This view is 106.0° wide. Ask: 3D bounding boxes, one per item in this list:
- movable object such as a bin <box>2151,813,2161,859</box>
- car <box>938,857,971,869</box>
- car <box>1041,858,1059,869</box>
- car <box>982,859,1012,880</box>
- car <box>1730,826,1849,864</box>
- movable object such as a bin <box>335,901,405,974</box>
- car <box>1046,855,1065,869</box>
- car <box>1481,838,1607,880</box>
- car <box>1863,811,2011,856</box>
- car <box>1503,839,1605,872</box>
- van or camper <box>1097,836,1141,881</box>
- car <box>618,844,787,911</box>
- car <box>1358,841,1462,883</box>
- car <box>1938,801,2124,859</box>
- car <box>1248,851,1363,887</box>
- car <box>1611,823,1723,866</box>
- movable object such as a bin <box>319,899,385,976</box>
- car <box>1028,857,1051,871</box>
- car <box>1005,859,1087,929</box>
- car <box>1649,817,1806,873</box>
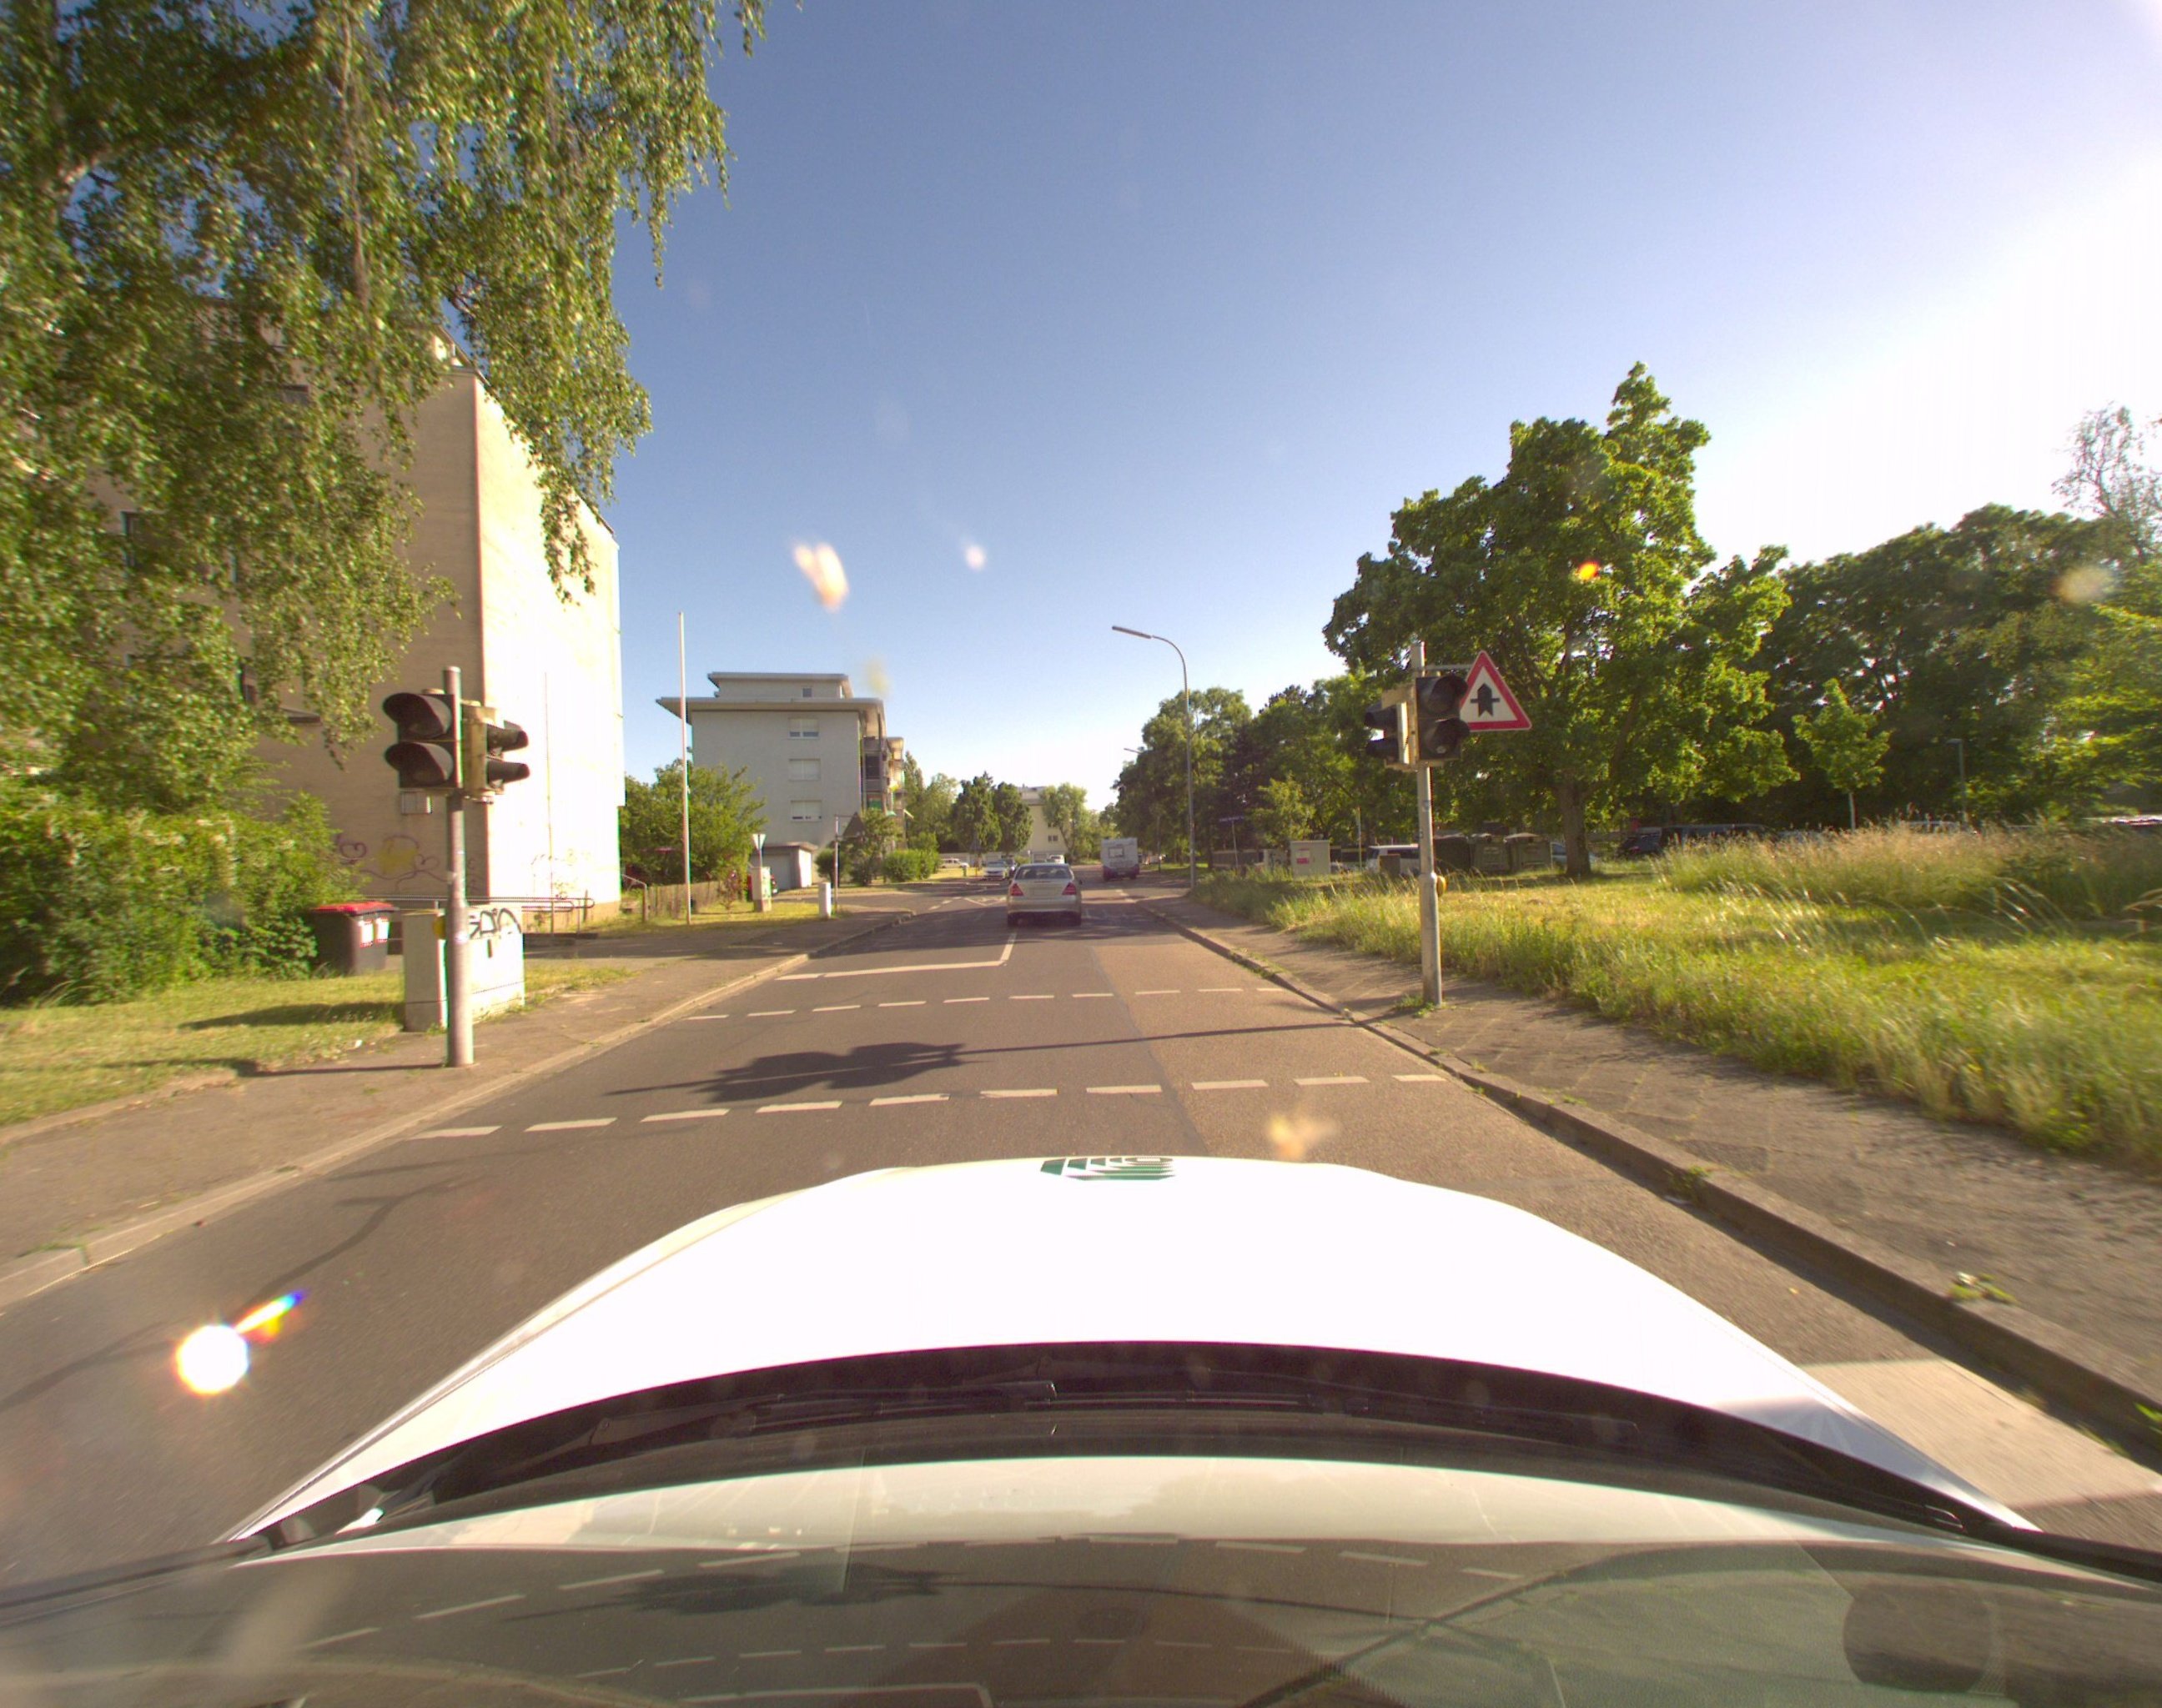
[{"bbox_3d":[36.748,-0.630,26.729,1.389,1.508,1.529,-2,-1,-14],"label":"movable object such as a bin"},{"bbox_3d":[-21.599,1.549,139.432,5.072,1.951,2.244,-3,0,11],"label":"car"},{"bbox_3d":[-4.139,1.256,109.621,1.825,1.518,4.227,0,-1,5],"label":"car"},{"bbox_3d":[-6.284,1.128,61.490,1.640,1.466,4.332,-1,0,1],"label":"car"},{"bbox_3d":[33.536,-0.412,38.628,3.852,1.611,2.000,-2,0,0],"label":"car"},{"bbox_3d":[-11.073,1.283,12.704,0.630,1.048,0.697,-2,-1,-25],"label":"movable object such as a bin"},{"bbox_3d":[-3.585,1.172,116.103,2.005,1.885,5.197,0,0,5],"label":"car"},{"bbox_3d":[19.045,0.198,33.639,4.084,1.541,1.976,-2,1,4],"label":"car"},{"bbox_3d":[39.324,-0.904,37.509,4.431,1.807,2.004,-3,0,6],"label":"car"},{"bbox_3d":[22.734,0.036,39.211,3.851,1.396,1.788,-2,1,1],"label":"car"},{"bbox_3d":[2.389,0.279,52.848,2.344,2.596,6.425,-5,0,0],"label":"van or camper"},{"bbox_3d":[-15.847,0.948,34.359,5.890,2.428,2.211,-3,1,-3],"label":"car"},{"bbox_3d":[13.764,0.323,34.250,3.666,1.578,1.831,-2,0,6],"label":"car"},{"bbox_3d":[37.342,-0.897,32.147,4.480,2.012,2.170,-2,0,6],"label":"car"},{"bbox_3d":[9.385,0.626,34.347,4.407,1.337,1.747,-1,1,3],"label":"car"},{"bbox_3d":[27.978,-0.439,39.024,3.843,1.851,2.005,-2,0,8],"label":"car"},{"bbox_3d":[-10.831,1.225,12.114,0.566,1.053,0.552,-2,-1,-24],"label":"movable object such as a bin"},{"bbox_3d":[-4.903,1.176,96.807,2.026,1.493,5.261,0,0,4],"label":"car"},{"bbox_3d":[-0.851,0.868,19.300,1.729,1.434,3.434,-2,0,-3],"label":"car"},{"bbox_3d":[26.253,-0.353,33.237,4.480,2.012,2.278,-2,0,6],"label":"car"}]
